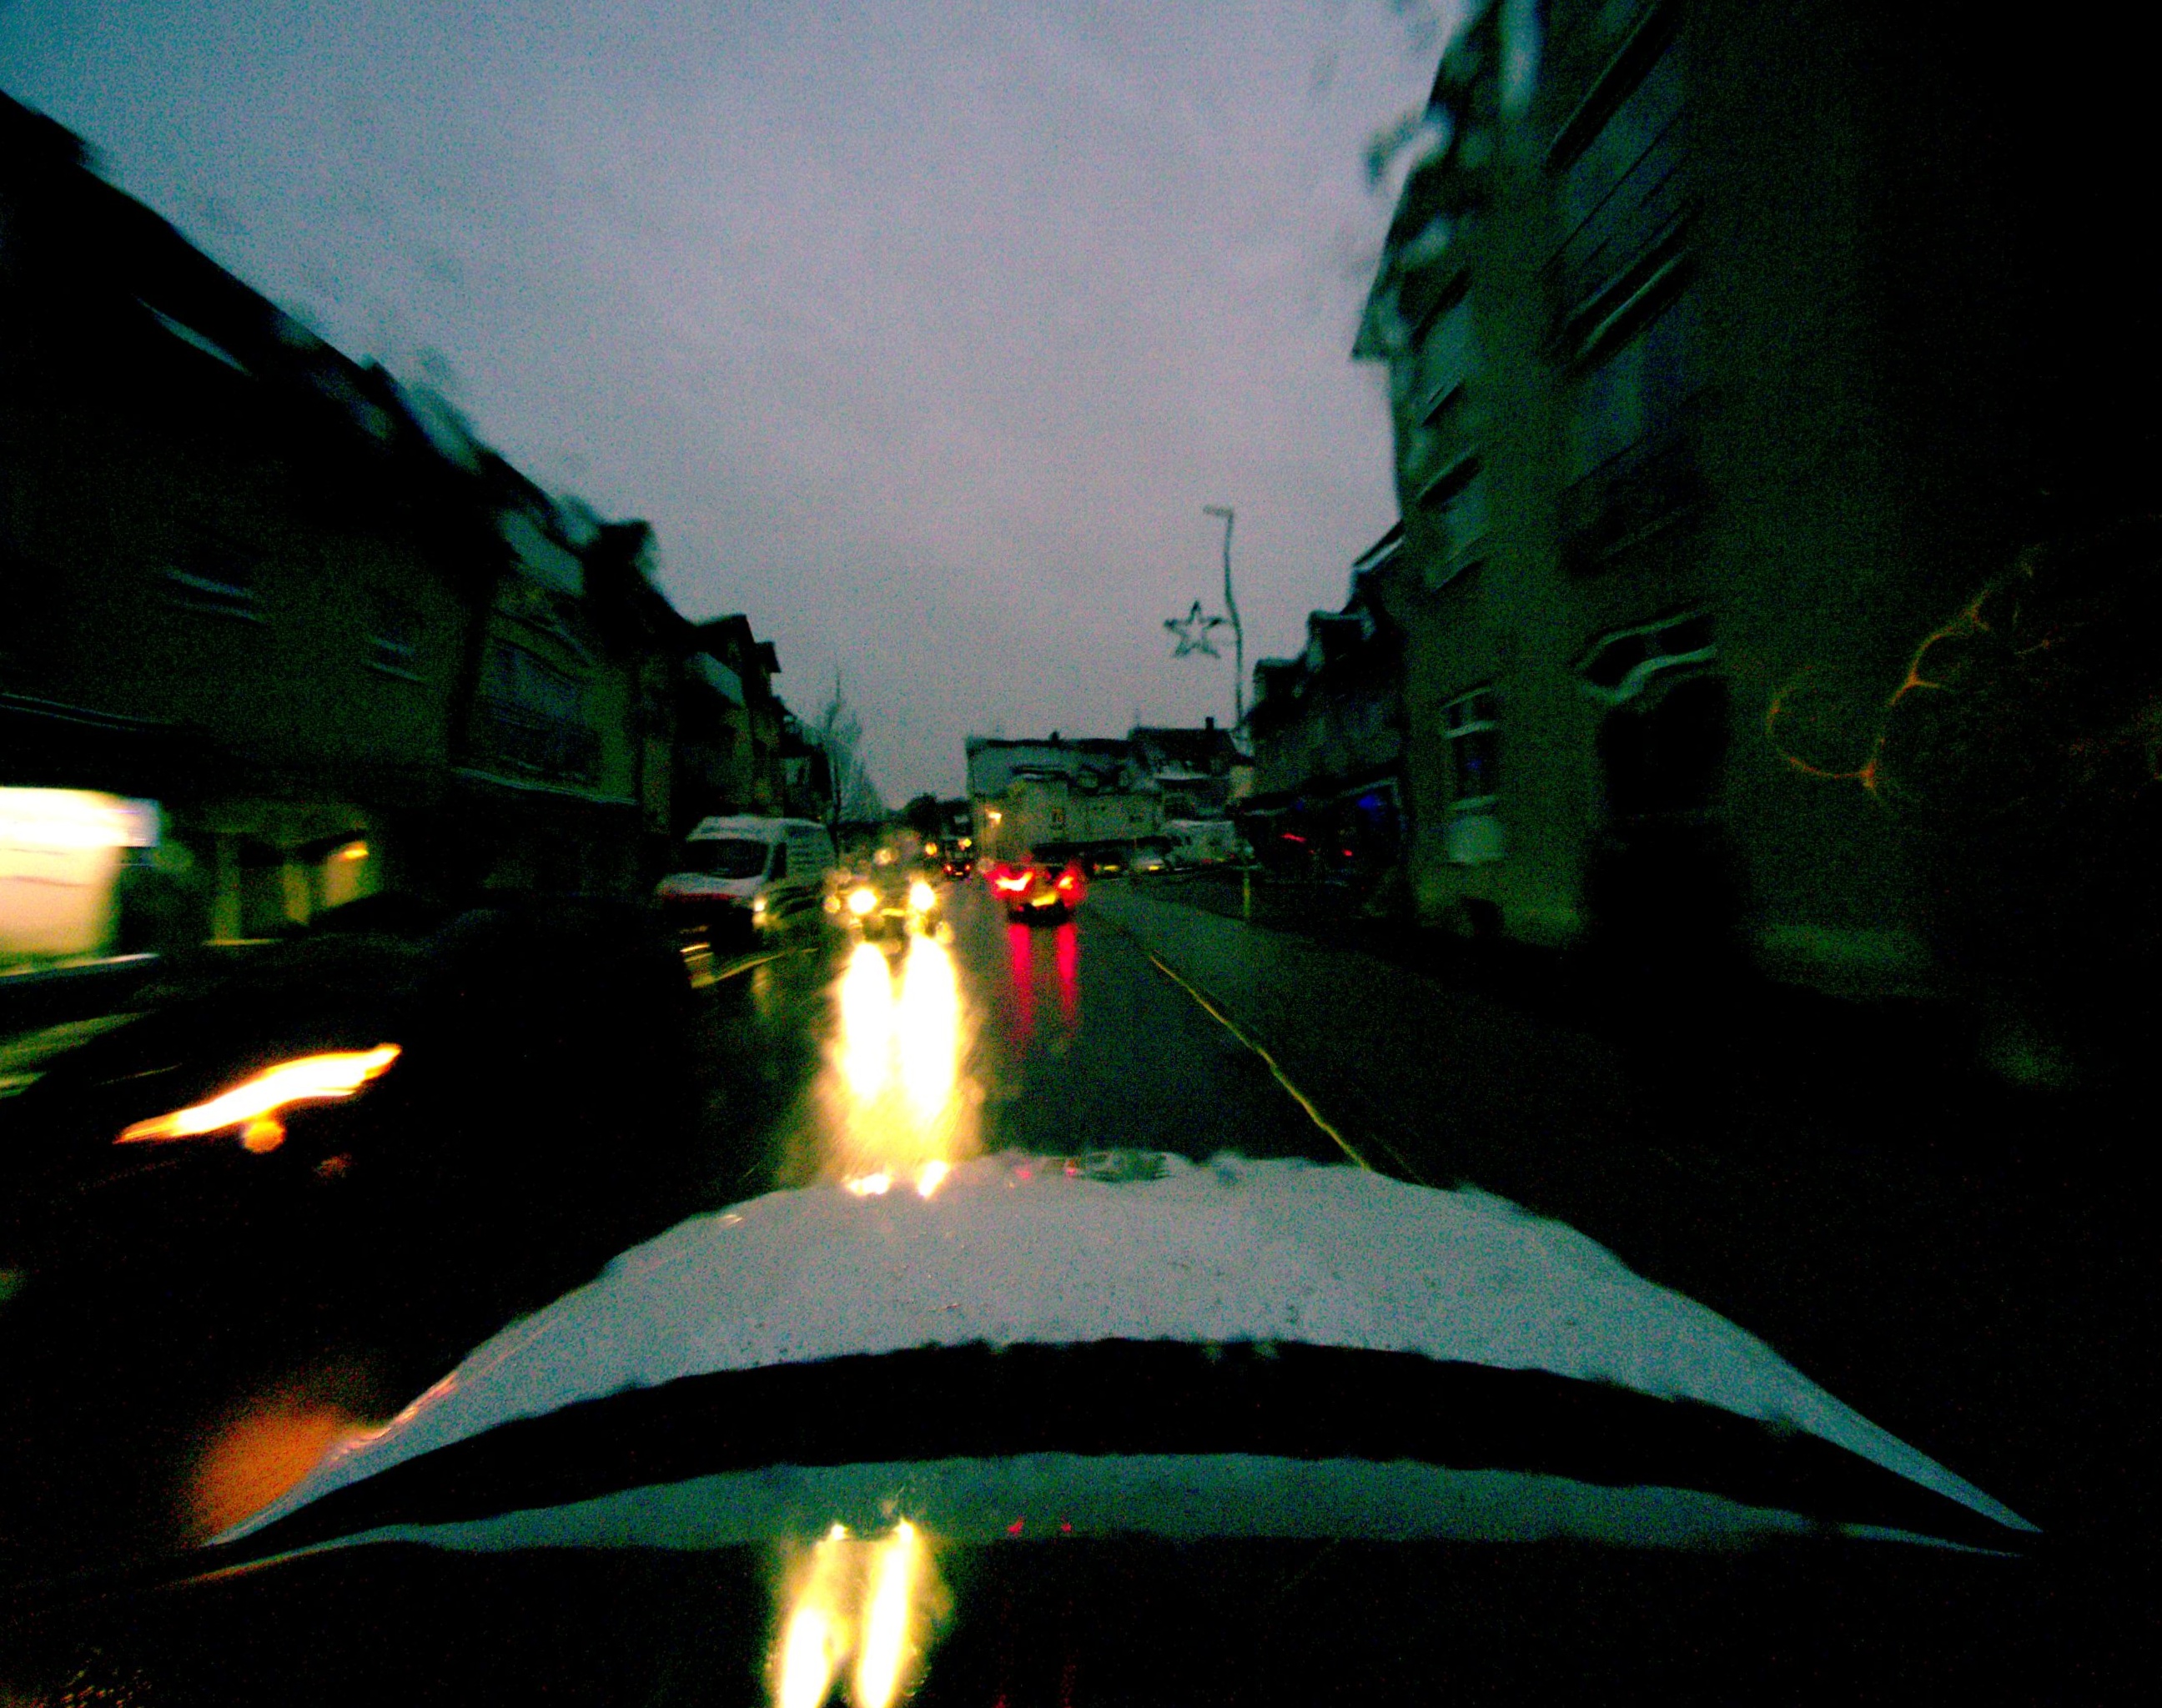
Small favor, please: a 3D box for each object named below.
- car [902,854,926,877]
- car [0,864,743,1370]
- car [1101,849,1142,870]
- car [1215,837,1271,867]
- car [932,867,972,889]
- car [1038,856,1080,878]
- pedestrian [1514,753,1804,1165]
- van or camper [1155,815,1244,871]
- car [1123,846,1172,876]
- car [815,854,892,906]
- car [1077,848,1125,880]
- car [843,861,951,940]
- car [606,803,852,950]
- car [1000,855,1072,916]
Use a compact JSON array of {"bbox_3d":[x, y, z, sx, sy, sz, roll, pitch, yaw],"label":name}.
[{"bbox_3d":[-16.817,1.143,81.994,1.998,2.202,3.977,-1,-1,-17],"label":"car"},{"bbox_3d":[-3.905,0.930,4.846,1.988,1.555,4.256,-2,1,-1],"label":"car"},{"bbox_3d":[3.024,0.399,61.556,1.825,1.462,4.528,-4,1,-13],"label":"car"},{"bbox_3d":[9.812,-0.107,49.667,1.790,1.553,3.983,-8,1,-12],"label":"car"},{"bbox_3d":[-9.968,1.823,62.759,2.004,1.588,3.965,0,-1,-26],"label":"car"},{"bbox_3d":[-1.642,0.908,58.604,1.894,1.462,3.607,-2,0,-22],"label":"car"},{"bbox_3d":[2.684,0.443,3.893,0.742,1.729,0.873,-2,0,2],"label":"pedestrian"},{"bbox_3d":[7.151,-0.579,50.132,2.658,3.047,6.695,-5,0,-17],"label":"van or camper"},{"bbox_3d":[4.021,0.479,49.621,1.993,1.610,4.161,-4,-1,-9],"label":"car"},{"bbox_3d":[-8.679,0.952,31.513,1.991,1.843,5.292,0,-1,-6],"label":"car"},{"bbox_3d":[1.152,0.599,49.512,1.994,1.765,4.334,-4,0,-11],"label":"car"},{"bbox_3d":[-4.268,1.024,19.555,1.915,1.564,4.218,-3,-1,-6],"label":"car"},{"bbox_3d":[-7.121,0.455,17.678,2.478,2.560,6.757,0,-1,-1],"label":"car"},{"bbox_3d":[-1.288,0.814,22.635,1.811,1.533,3.993,-1,-1,-4],"label":"car"}]
